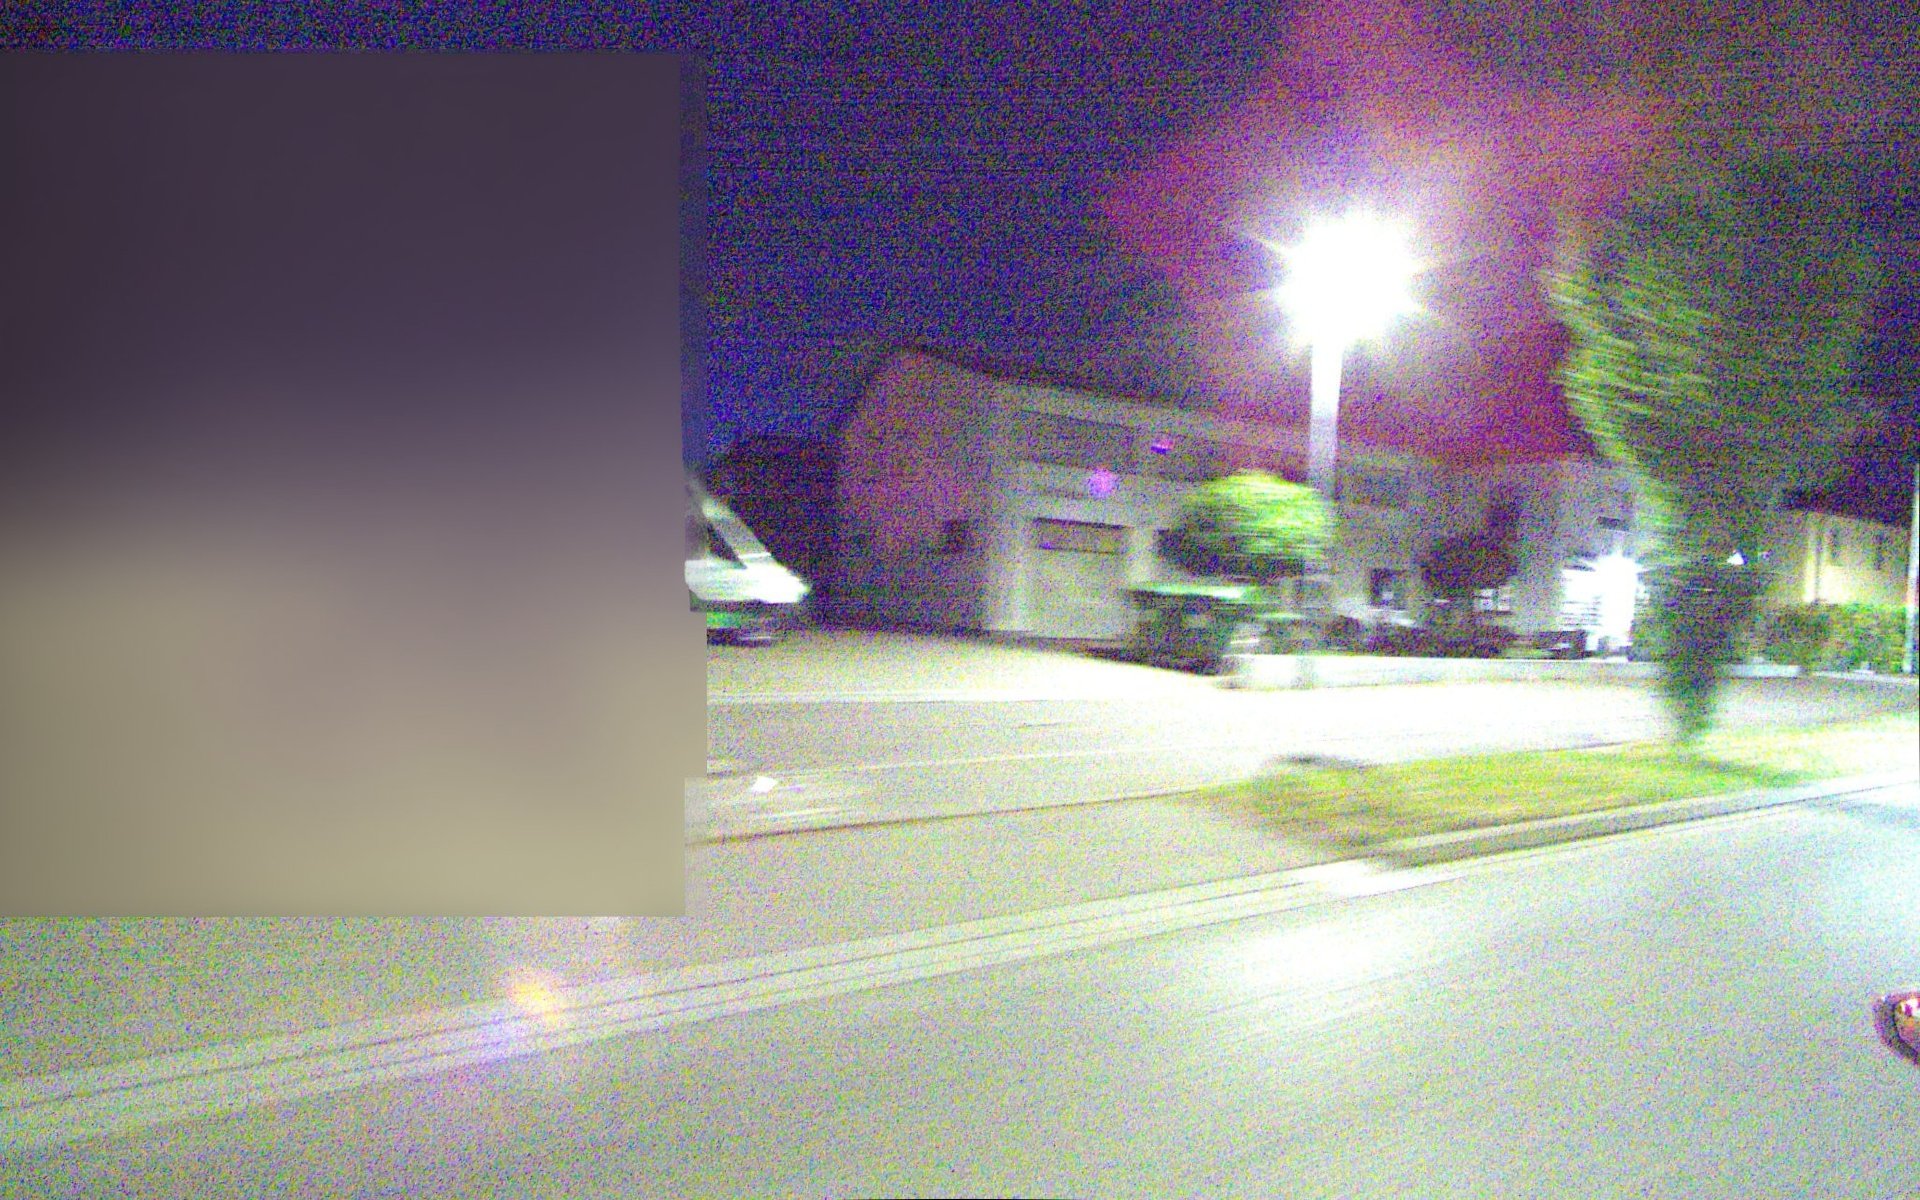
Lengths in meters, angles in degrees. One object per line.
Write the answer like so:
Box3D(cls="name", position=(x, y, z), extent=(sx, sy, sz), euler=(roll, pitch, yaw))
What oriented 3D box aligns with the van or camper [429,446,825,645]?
Box3D(cls="van or camper", position=(-5.377, -0.730, 16.582), extent=(5.861, 2.784, 2.064), euler=(2, 1, -31))
